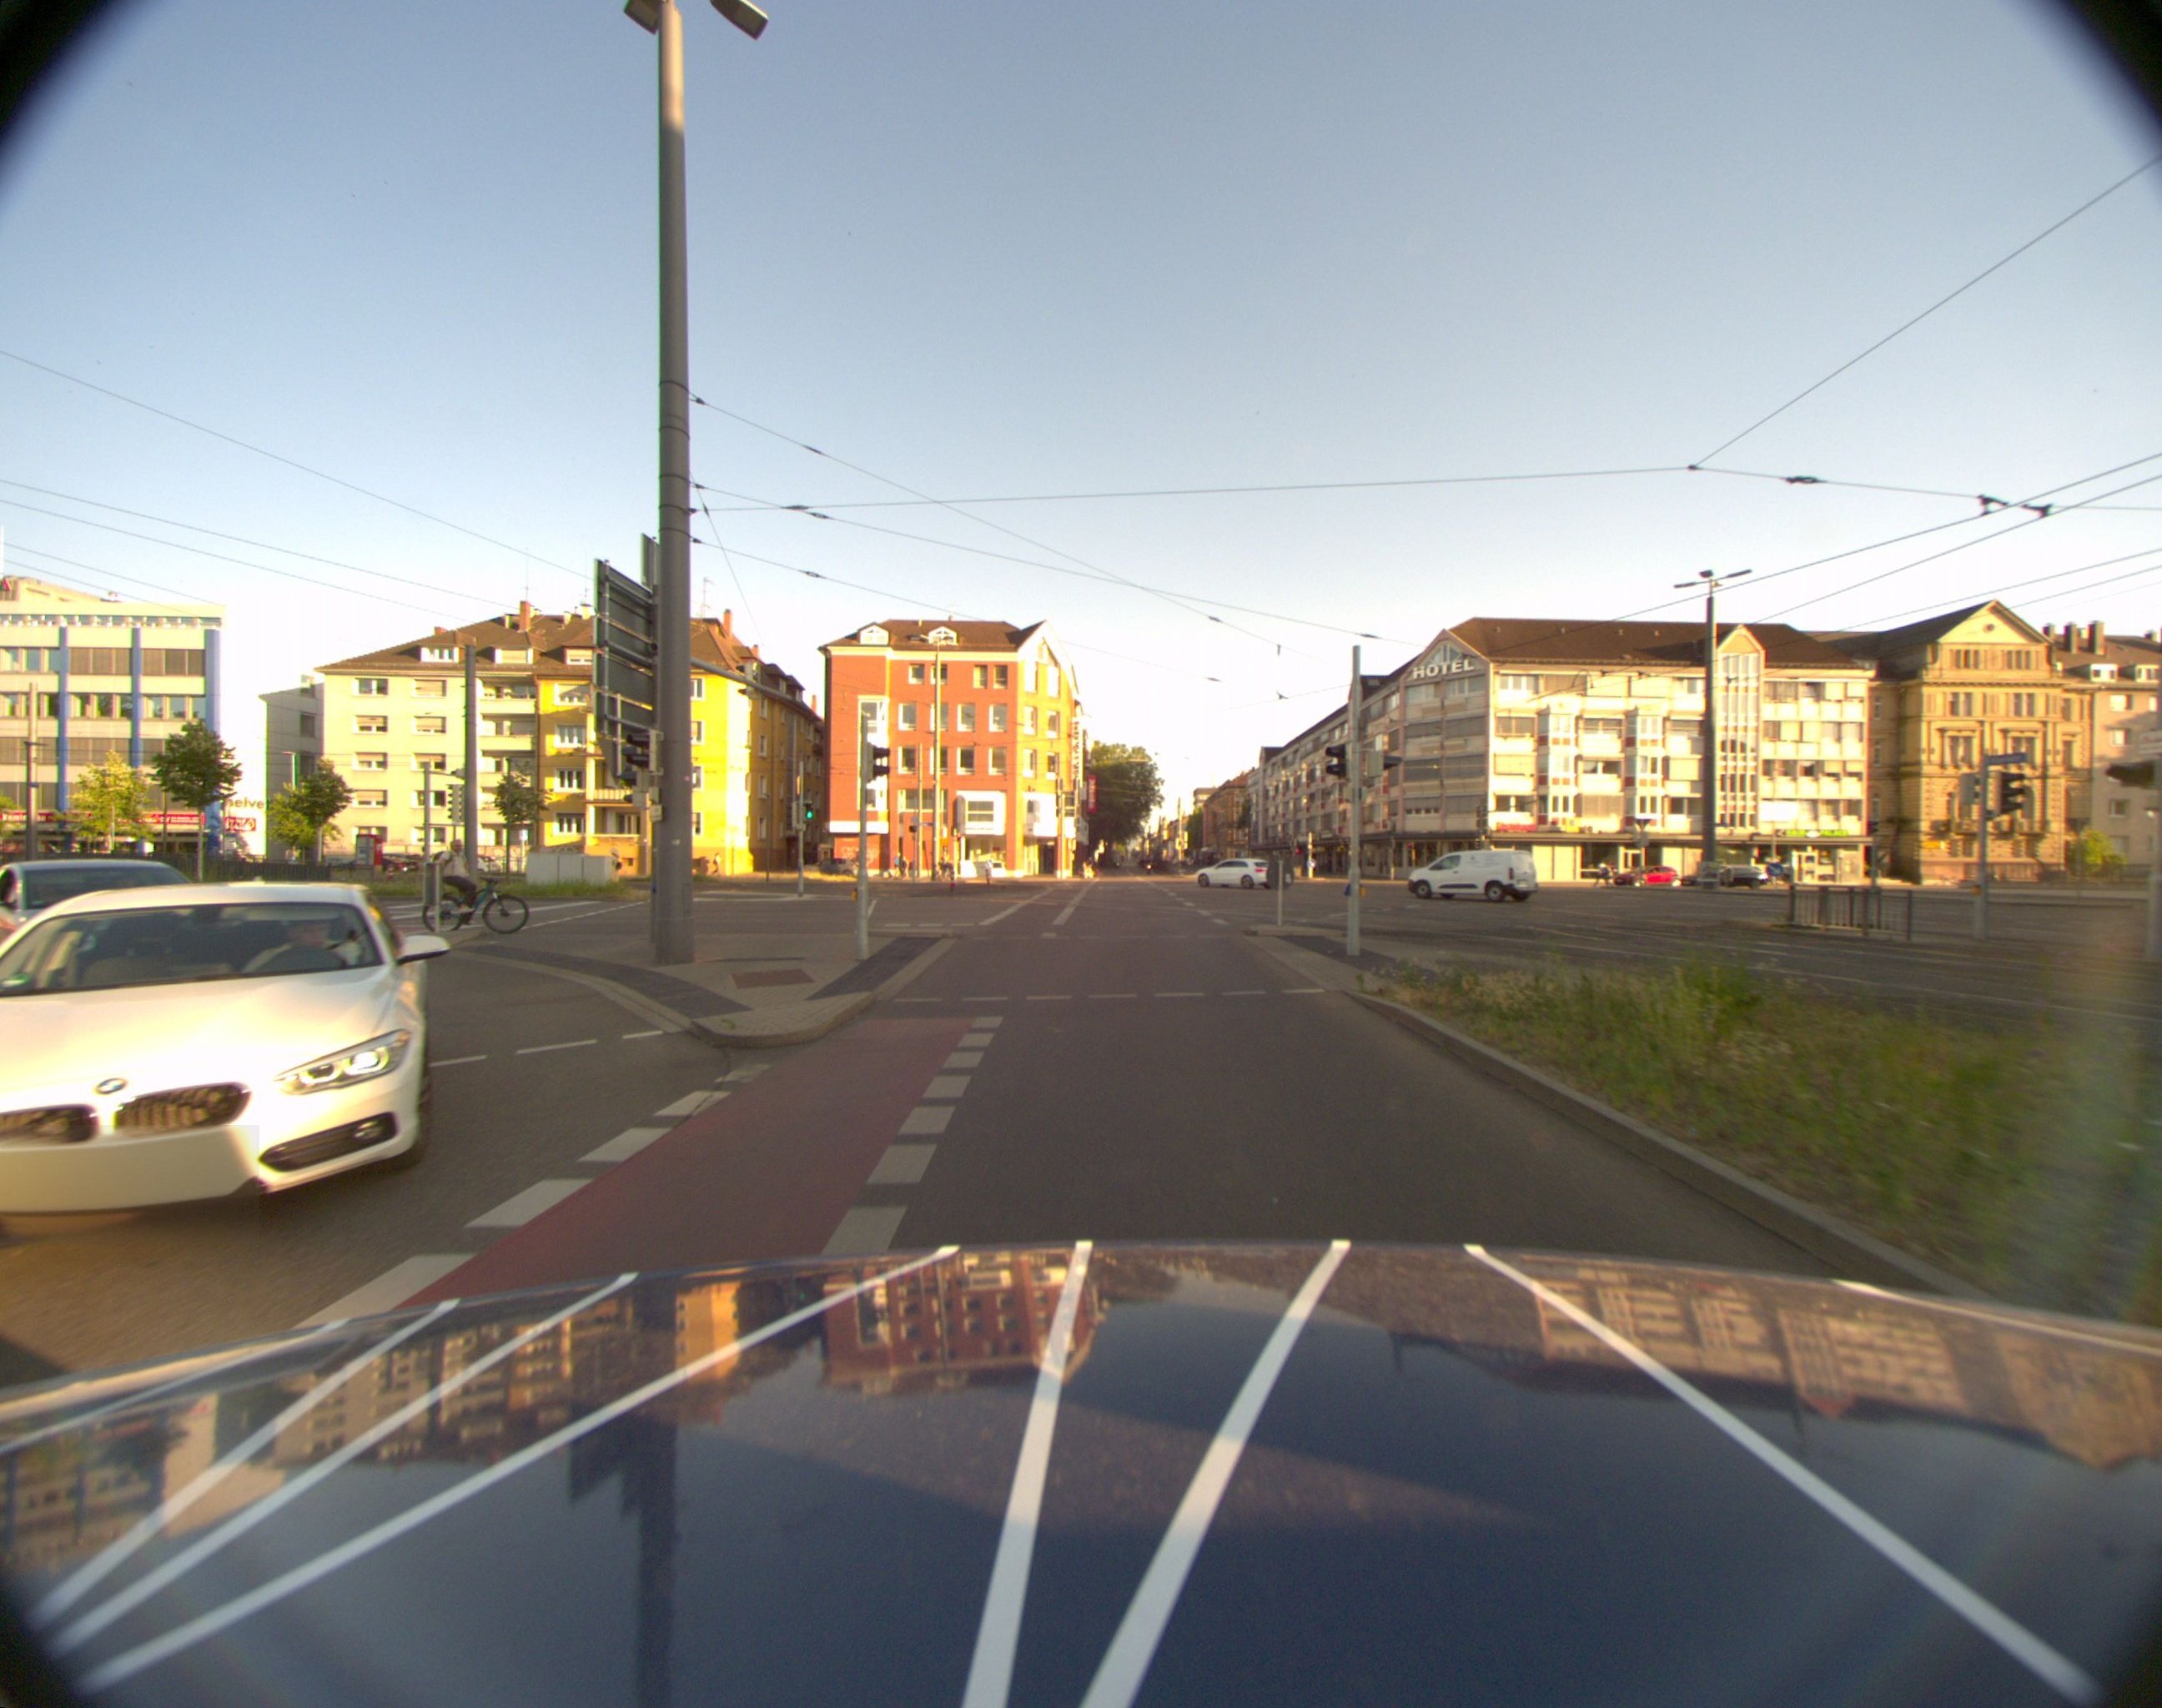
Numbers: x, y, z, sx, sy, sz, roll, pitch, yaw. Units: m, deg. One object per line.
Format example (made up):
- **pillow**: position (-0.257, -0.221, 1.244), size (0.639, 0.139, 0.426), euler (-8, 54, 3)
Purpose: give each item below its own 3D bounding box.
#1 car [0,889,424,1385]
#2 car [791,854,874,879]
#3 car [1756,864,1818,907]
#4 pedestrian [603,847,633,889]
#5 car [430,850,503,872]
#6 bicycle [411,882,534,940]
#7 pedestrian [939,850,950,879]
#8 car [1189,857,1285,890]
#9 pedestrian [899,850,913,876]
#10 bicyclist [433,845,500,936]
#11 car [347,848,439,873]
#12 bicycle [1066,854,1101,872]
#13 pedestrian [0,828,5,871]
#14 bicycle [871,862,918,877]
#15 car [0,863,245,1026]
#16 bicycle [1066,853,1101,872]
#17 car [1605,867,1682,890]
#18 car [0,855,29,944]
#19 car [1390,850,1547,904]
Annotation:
- **car**: position (-4.932, 1.026, 4.157), size (1.920, 1.397, 4.291), euler (-1, 1, -42)
- **car**: position (-16.028, 0.800, 49.113), size (4.698, 1.495, 1.918), euler (1, 0, 2)
- **car**: position (44.617, 2.038, 47.988), size (4.628, 1.542, 2.219), euler (17, -19, -39)
- **pedestrian**: position (-17.303, 0.513, 28.402), size (0.635, 1.532, 0.708), euler (1, 1, 16)
- **car**: position (-42.560, 0.491, 52.691), size (3.542, 1.412, 1.739), euler (1, 0, -3)
- **bicycle**: position (-11.418, 1.055, 14.277), size (1.845, 1.017, 0.596), euler (1, 0, 2)
- **pedestrian**: position (-7.875, 0.610, 43.852), size (0.418, 1.698, 0.517), euler (1, 1, 38)
- **car**: position (7.651, 0.916, 37.564), size (1.820, 1.440, 4.550), euler (0, 1, -38)
- **pedestrian**: position (-12.309, 0.634, 53.412), size (0.873, 1.768, 0.917), euler (0, 1, -8)
- **bicyclist**: position (-11.523, 0.673, 14.272), size (0.747, 1.661, 0.596), euler (0, 1, 1)
- **car**: position (-47.597, 0.439, 52.677), size (4.347, 1.695, 2.118), euler (1, 0, -3)
- **bicycle**: position (0.291, 0.839, 72.864), size (3.305, 1.716, 1.069), euler (1, 0, 1)
- **pedestrian**: position (-39.853, -0.164, 27.623), size (0.690, 1.581, 0.566), euler (1, 0, 2)
- **bicycle**: position (-12.821, 1.079, 52.404), size (3.064, 1.011, 0.931), euler (1, 0, -8)
- **car**: position (-12.241, 0.947, 9.354), size (3.716, 1.552, 1.683), euler (1, 2, 28)
- **bicycle**: position (0.242, 0.809, 71.695), size (3.305, 1.716, 1.069), euler (1, 0, 2)
- **car**: position (36.843, 1.585, 49.805), size (3.895, 1.414, 1.649), euler (1, 0, -3)
- **car**: position (-22.051, 0.820, 14.029), size (4.382, 1.608, 1.947), euler (1, 0, 20)
- **car**: position (14.293, 0.767, 28.356), size (2.004, 1.827, 4.863), euler (0, 0, -31)
